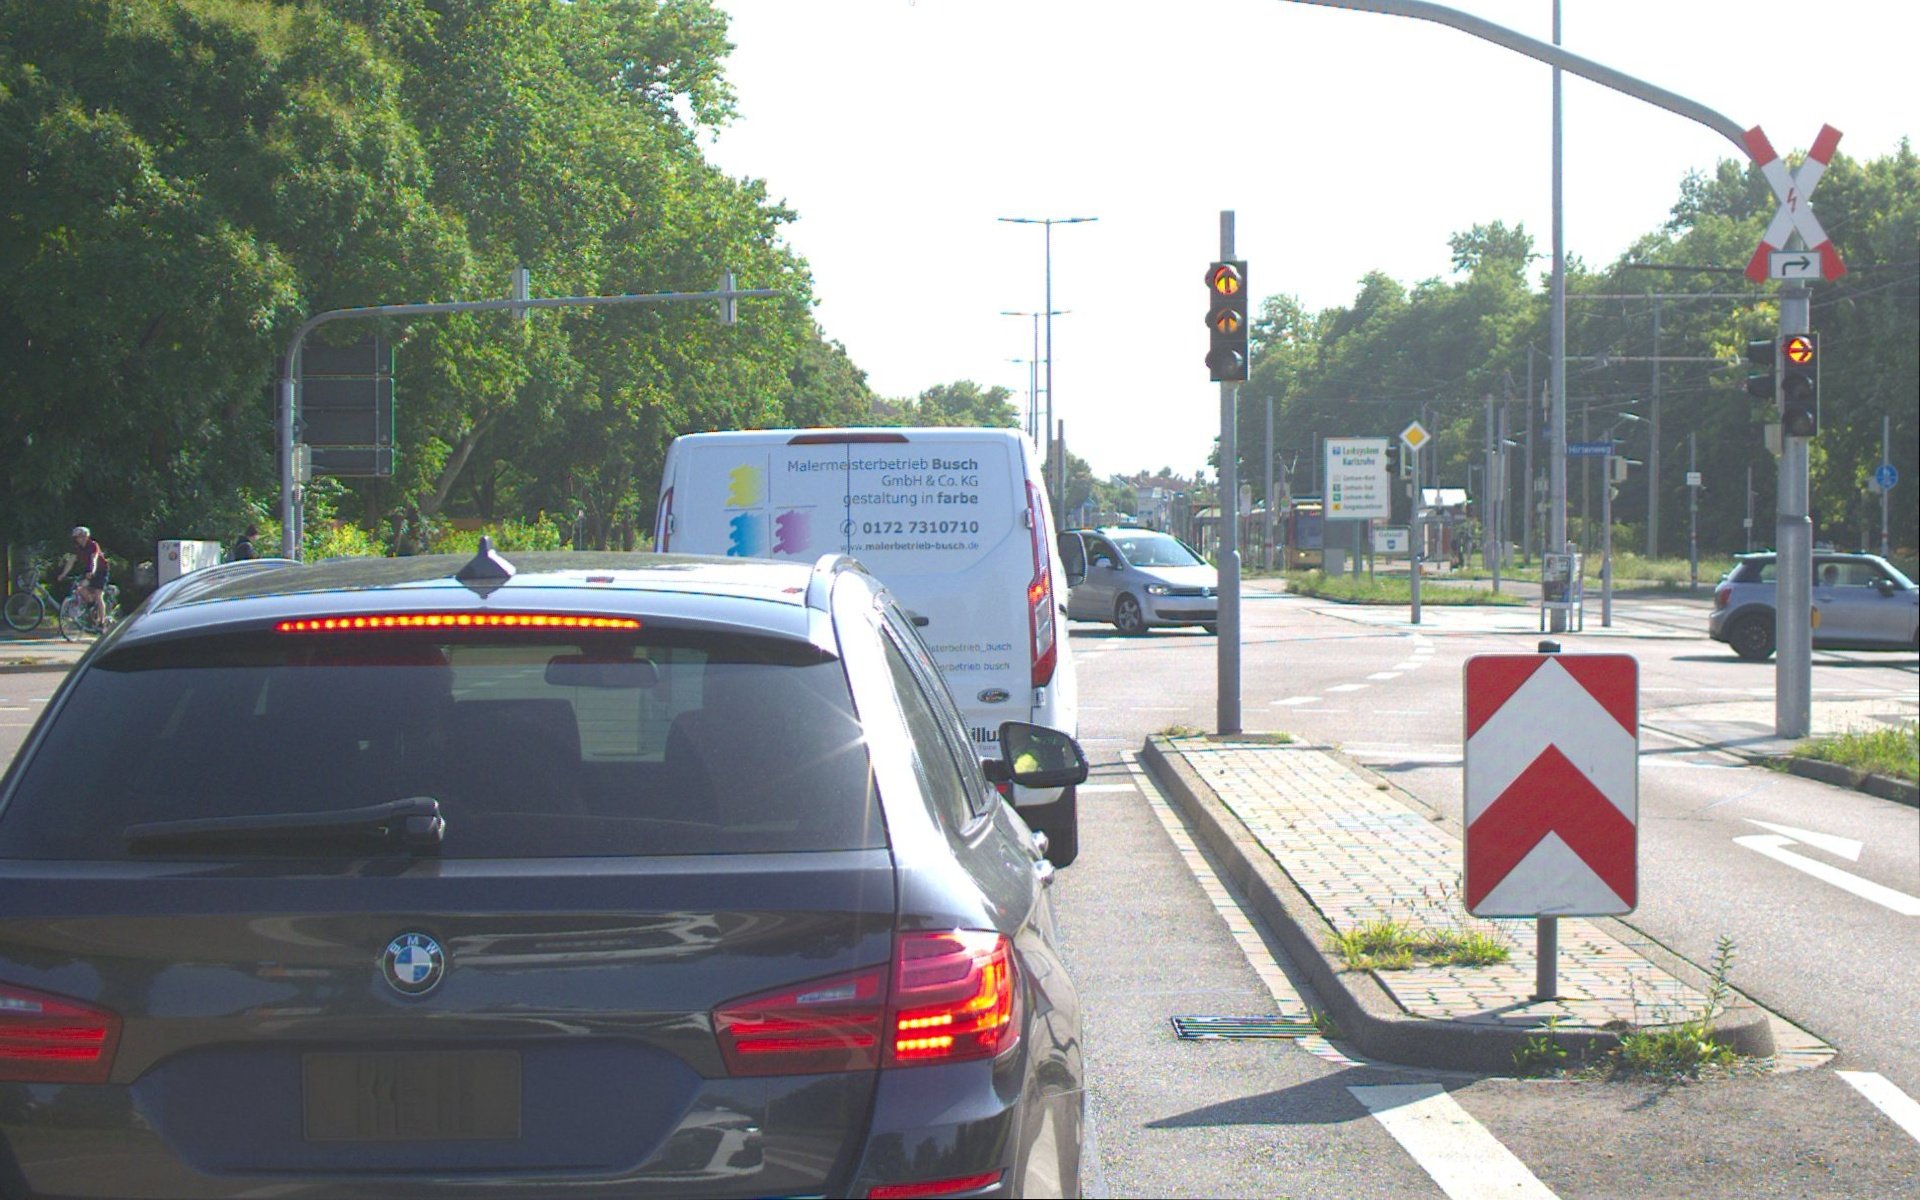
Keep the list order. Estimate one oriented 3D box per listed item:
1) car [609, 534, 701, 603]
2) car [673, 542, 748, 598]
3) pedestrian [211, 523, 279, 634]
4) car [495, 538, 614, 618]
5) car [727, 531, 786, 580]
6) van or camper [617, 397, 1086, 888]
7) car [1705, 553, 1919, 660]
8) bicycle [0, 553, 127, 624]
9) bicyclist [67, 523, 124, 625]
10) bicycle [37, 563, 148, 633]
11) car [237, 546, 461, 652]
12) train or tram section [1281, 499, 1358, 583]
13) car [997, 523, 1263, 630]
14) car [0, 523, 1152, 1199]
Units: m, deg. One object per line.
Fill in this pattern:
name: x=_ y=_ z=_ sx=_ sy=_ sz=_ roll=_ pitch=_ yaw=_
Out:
car: x=-7.180 y=-0.763 z=81.227 sx=1.745 sy=1.556 sz=4.000 roll=-2 pitch=1 yaw=0
car: x=-6.804 y=-0.832 z=94.023 sx=1.888 sy=1.469 sz=4.100 roll=-1 pitch=1 yaw=-2
pedestrian: x=-11.313 y=-0.347 z=54.422 sx=0.816 sy=1.746 sz=0.931 roll=0 pitch=1 yaw=5
car: x=-7.864 y=-0.454 z=66.921 sx=1.702 sy=1.460 sz=4.369 roll=-2 pitch=1 yaw=1
car: x=-6.489 y=-1.444 z=109.888 sx=1.788 sy=1.515 sz=4.001 roll=-1 pitch=1 yaw=-2
van or camper: x=-0.426 y=0.135 z=16.934 sx=1.993 sy=2.089 sz=4.598 roll=0 pitch=1 yaw=1
car: x=11.723 y=0.067 z=45.588 sx=3.519 sy=1.379 sz=1.606 roll=0 pitch=1 yaw=10
bicycle: x=-14.274 y=-0.192 z=54.643 sx=1.909 sy=1.115 sz=0.632 roll=0 pitch=1 yaw=0
bicyclist: x=-13.245 y=-0.400 z=52.662 sx=0.608 sy=1.555 sz=0.602 roll=0 pitch=1 yaw=18
bicycle: x=-13.259 y=-0.044 z=52.624 sx=0.620 sy=1.037 sz=2.070 roll=0 pitch=1 yaw=19
car: x=-8.576 y=-0.049 z=48.600 sx=1.780 sy=1.410 sz=4.243 roll=0 pitch=1 yaw=10
train or tram section: x=16.132 y=-2.620 z=154.982 sx=2.796 sy=3.606 sz=12.954 roll=1 pitch=1 yaw=3
car: x=2.540 y=-0.389 z=52.365 sx=1.850 sy=1.557 sz=4.203 roll=-1 pitch=1 yaw=-35
car: x=-0.722 y=0.614 z=6.438 sx=1.903 sy=1.500 sz=4.065 roll=0 pitch=1 yaw=0
